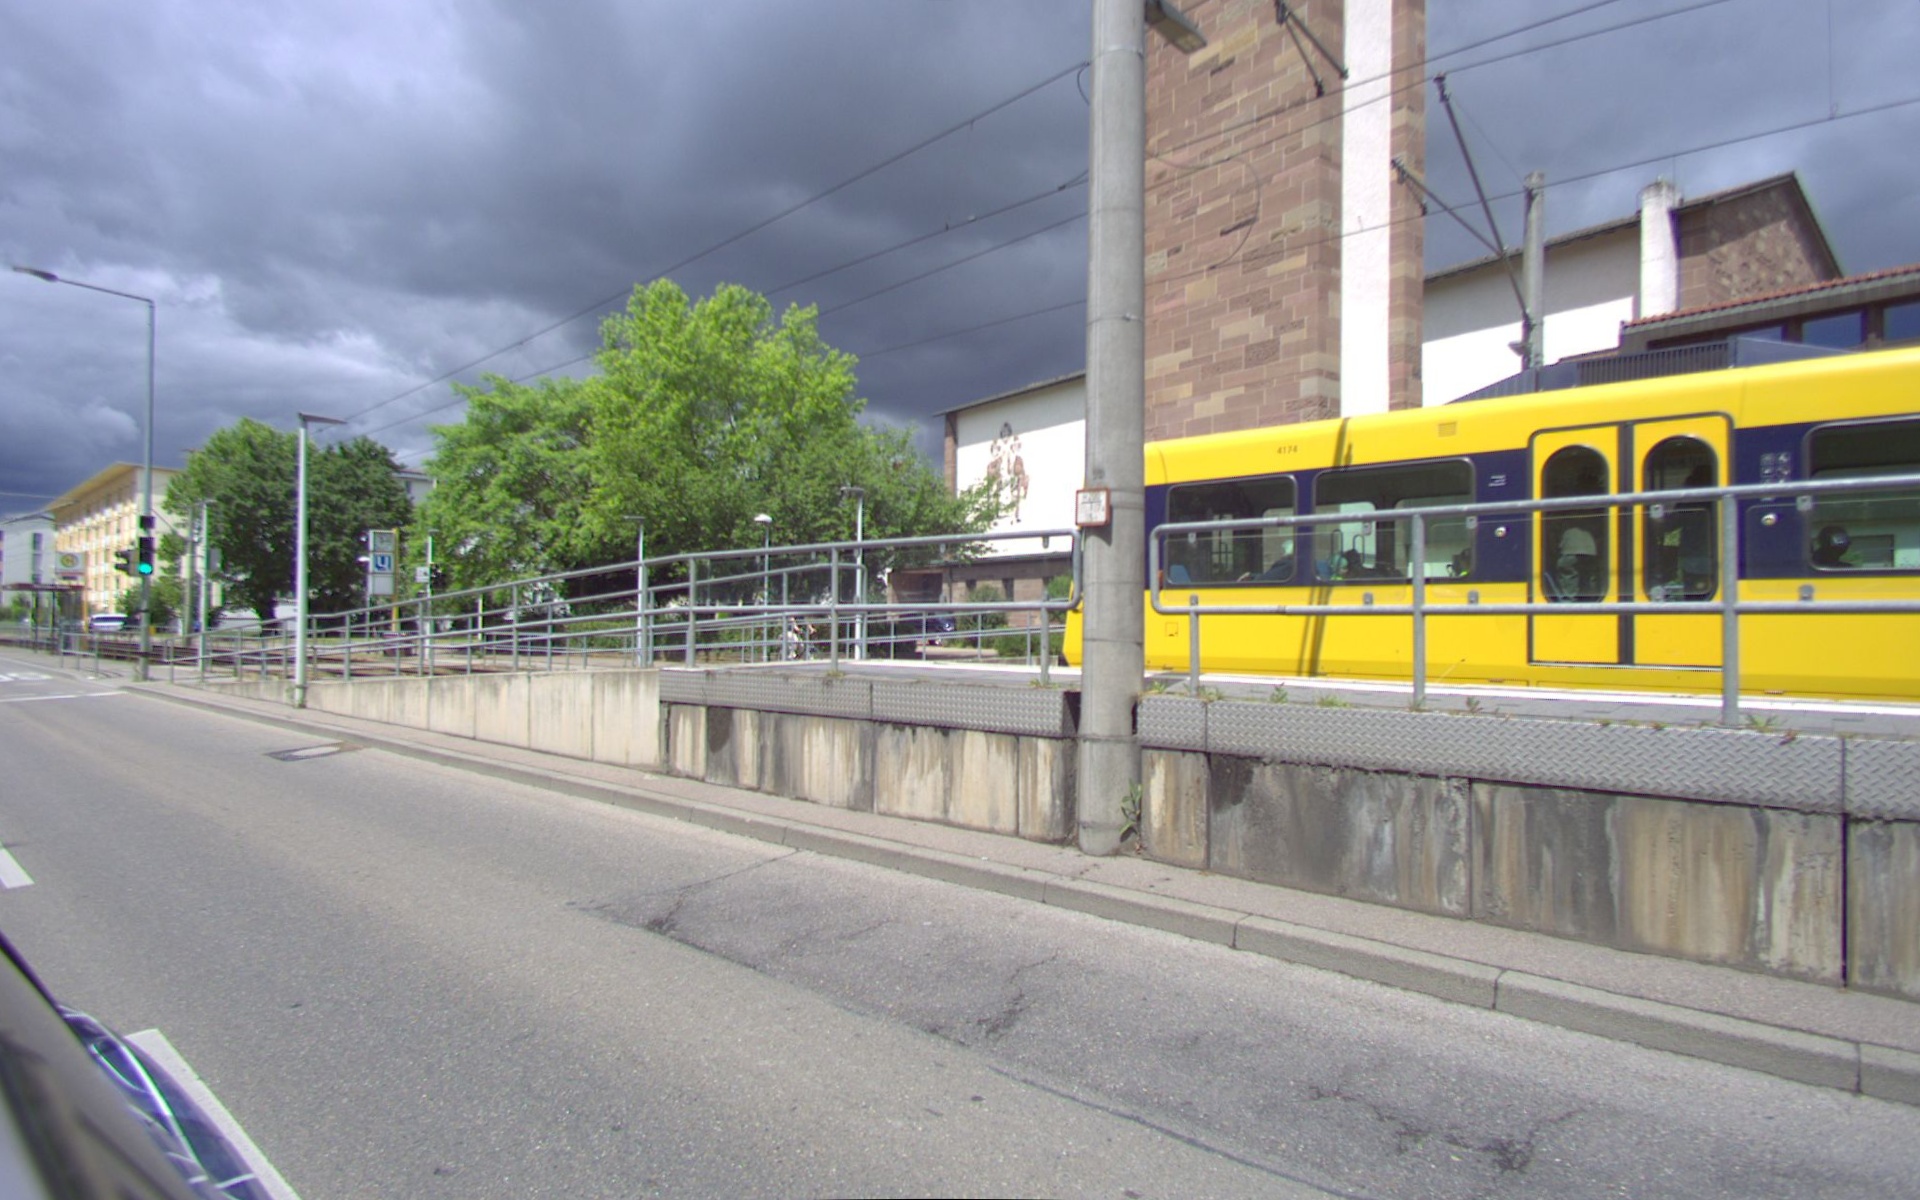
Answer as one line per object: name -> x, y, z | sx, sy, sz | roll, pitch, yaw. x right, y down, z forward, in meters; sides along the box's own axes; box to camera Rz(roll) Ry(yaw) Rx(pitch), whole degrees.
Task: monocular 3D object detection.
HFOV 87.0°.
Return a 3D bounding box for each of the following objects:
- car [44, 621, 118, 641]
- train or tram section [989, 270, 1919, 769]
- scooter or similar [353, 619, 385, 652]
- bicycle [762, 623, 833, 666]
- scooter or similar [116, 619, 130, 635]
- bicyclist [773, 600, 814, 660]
car -> -68.469, 2.427, 78.936 | 4.068, 1.303, 1.636 | 5, -5, -32
train or tram section -> 8.470, -0.586, 7.598 | 18.815, 3.491, 3.076 | -1, 0, 41
scooter or similar -> -22.968, 1.387, 39.319 | 1.400, 1.246, 0.642 | -2, -1, 42
bicycle -> -3.992, 1.066, 24.775 | 1.927, 1.001, 0.631 | -1, 0, 41
scooter or similar -> -57.472, 1.838, 69.457 | 0.820, 1.123, 0.598 | -1, -1, 39
bicyclist -> -4.098, 0.734, 24.880 | 0.790, 1.440, 0.626 | -1, 0, 41
